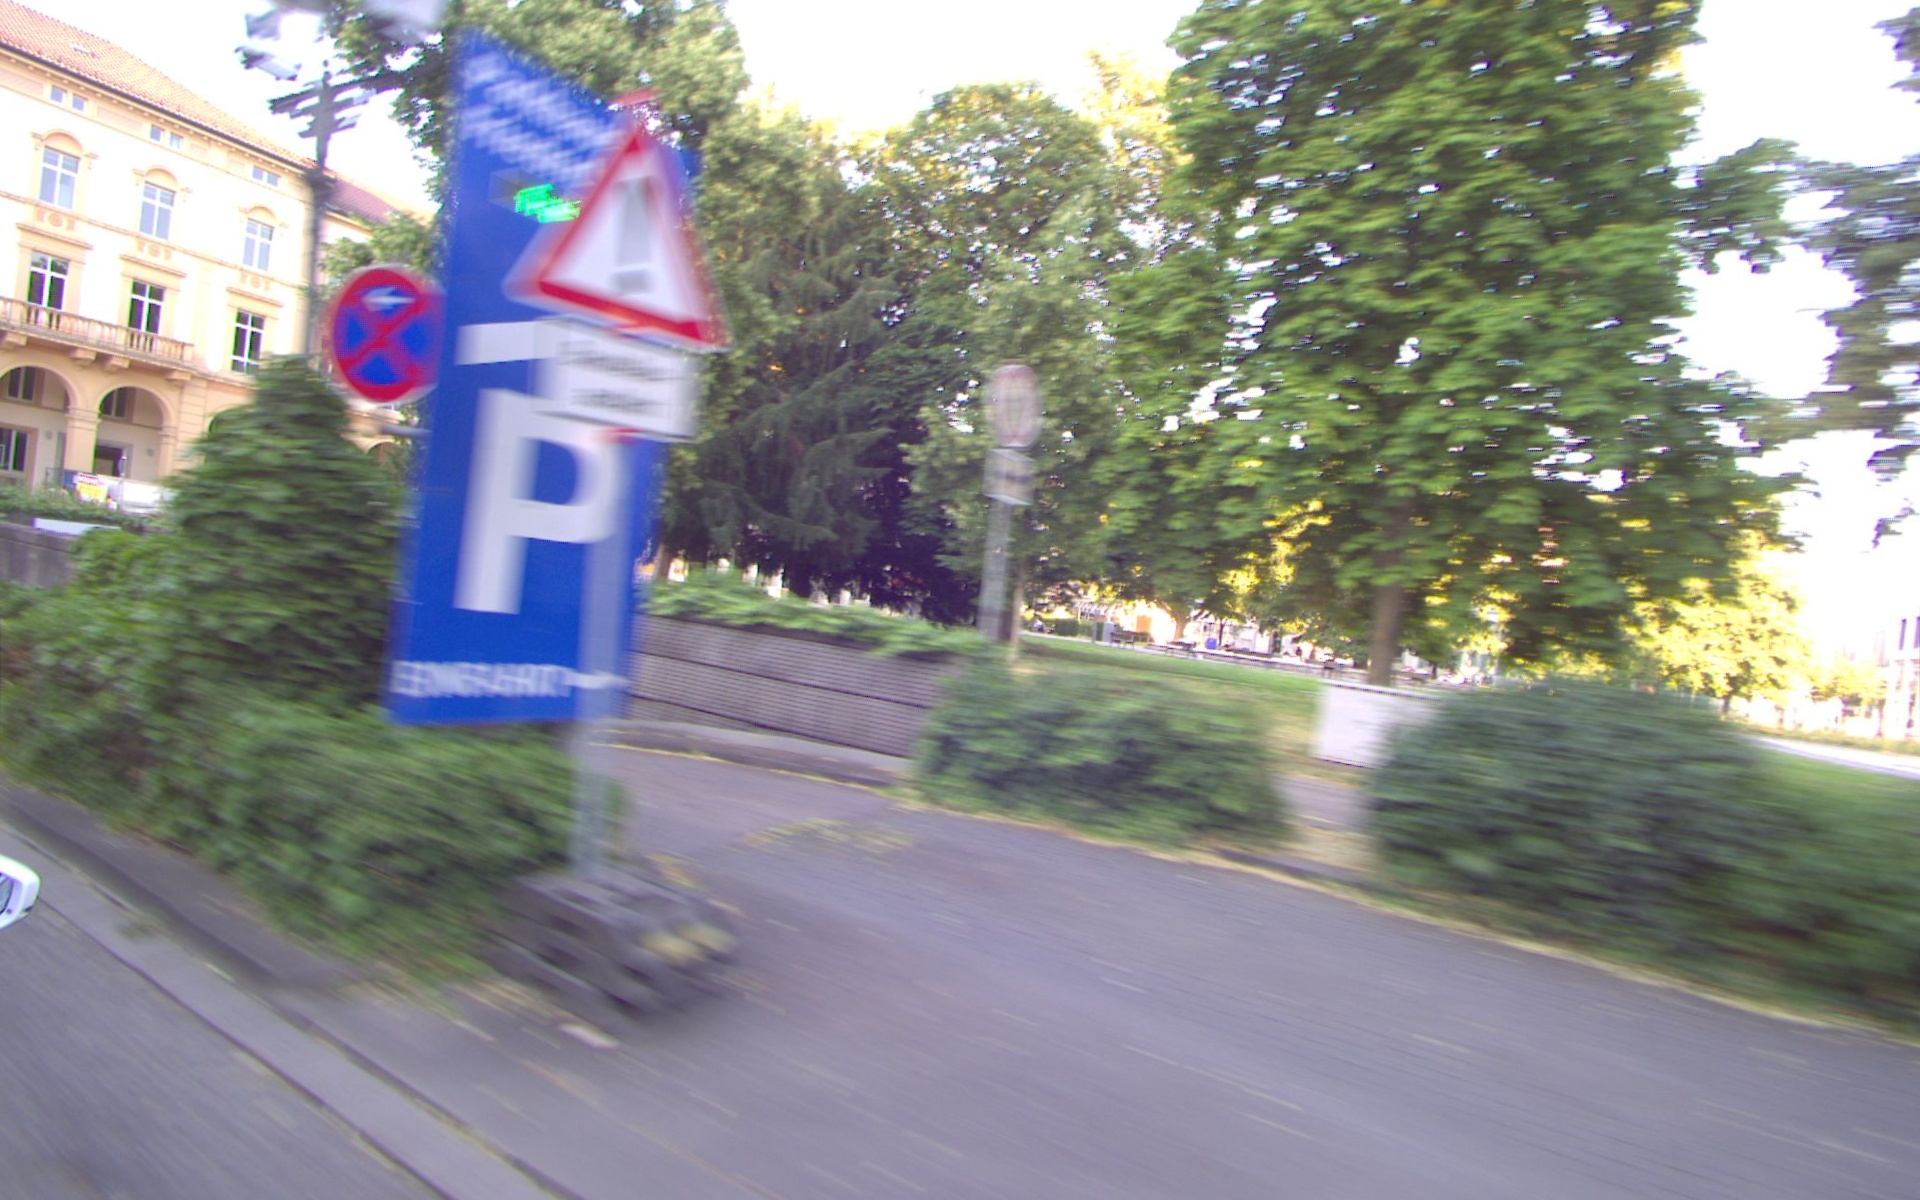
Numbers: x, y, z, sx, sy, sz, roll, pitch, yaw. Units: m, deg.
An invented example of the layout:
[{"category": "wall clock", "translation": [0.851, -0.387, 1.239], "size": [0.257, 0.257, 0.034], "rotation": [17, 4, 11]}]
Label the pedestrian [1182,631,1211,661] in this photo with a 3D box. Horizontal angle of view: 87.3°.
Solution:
[{"category": "pedestrian", "translation": [11.935, 2.322, 50.779], "size": [1.061, 1.308, 0.834], "rotation": [8, 1, -40]}]

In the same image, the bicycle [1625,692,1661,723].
[{"category": "bicycle", "translation": [30.942, 4.845, 45.600], "size": [0.554, 1.191, 1.776], "rotation": [7, 0, 9]}]

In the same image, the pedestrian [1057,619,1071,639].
[{"category": "pedestrian", "translation": [8.009, 2.225, 77.352], "size": [0.640, 1.384, 1.031], "rotation": [7, 0, -8]}]

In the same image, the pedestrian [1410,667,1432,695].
[{"category": "pedestrian", "translation": [21.623, 3.797, 47.133], "size": [0.724, 1.215, 1.103], "rotation": [7, 0, 30]}]

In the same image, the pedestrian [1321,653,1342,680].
[{"category": "pedestrian", "translation": [17.519, 3.141, 47.443], "size": [0.653, 1.215, 1.103], "rotation": [7, 0, 30]}]

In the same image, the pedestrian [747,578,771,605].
[{"category": "pedestrian", "translation": [-10.594, -0.449, 53.048], "size": [0.911, 1.267, 0.708], "rotation": [7, 0, 27]}]

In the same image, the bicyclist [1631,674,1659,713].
[{"category": "bicyclist", "translation": [31.012, 4.237, 45.565], "size": [0.646, 1.652, 0.677], "rotation": [7, 1, 10]}]

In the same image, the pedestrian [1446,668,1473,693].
[{"category": "pedestrian", "translation": [31.381, 5.056, 63.249], "size": [1.134, 1.387, 0.831], "rotation": [8, 1, -22]}]

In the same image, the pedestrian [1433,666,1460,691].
[{"category": "pedestrian", "translation": [31.011, 5.008, 64.123], "size": [1.134, 1.387, 0.831], "rotation": [8, 1, -22]}]
